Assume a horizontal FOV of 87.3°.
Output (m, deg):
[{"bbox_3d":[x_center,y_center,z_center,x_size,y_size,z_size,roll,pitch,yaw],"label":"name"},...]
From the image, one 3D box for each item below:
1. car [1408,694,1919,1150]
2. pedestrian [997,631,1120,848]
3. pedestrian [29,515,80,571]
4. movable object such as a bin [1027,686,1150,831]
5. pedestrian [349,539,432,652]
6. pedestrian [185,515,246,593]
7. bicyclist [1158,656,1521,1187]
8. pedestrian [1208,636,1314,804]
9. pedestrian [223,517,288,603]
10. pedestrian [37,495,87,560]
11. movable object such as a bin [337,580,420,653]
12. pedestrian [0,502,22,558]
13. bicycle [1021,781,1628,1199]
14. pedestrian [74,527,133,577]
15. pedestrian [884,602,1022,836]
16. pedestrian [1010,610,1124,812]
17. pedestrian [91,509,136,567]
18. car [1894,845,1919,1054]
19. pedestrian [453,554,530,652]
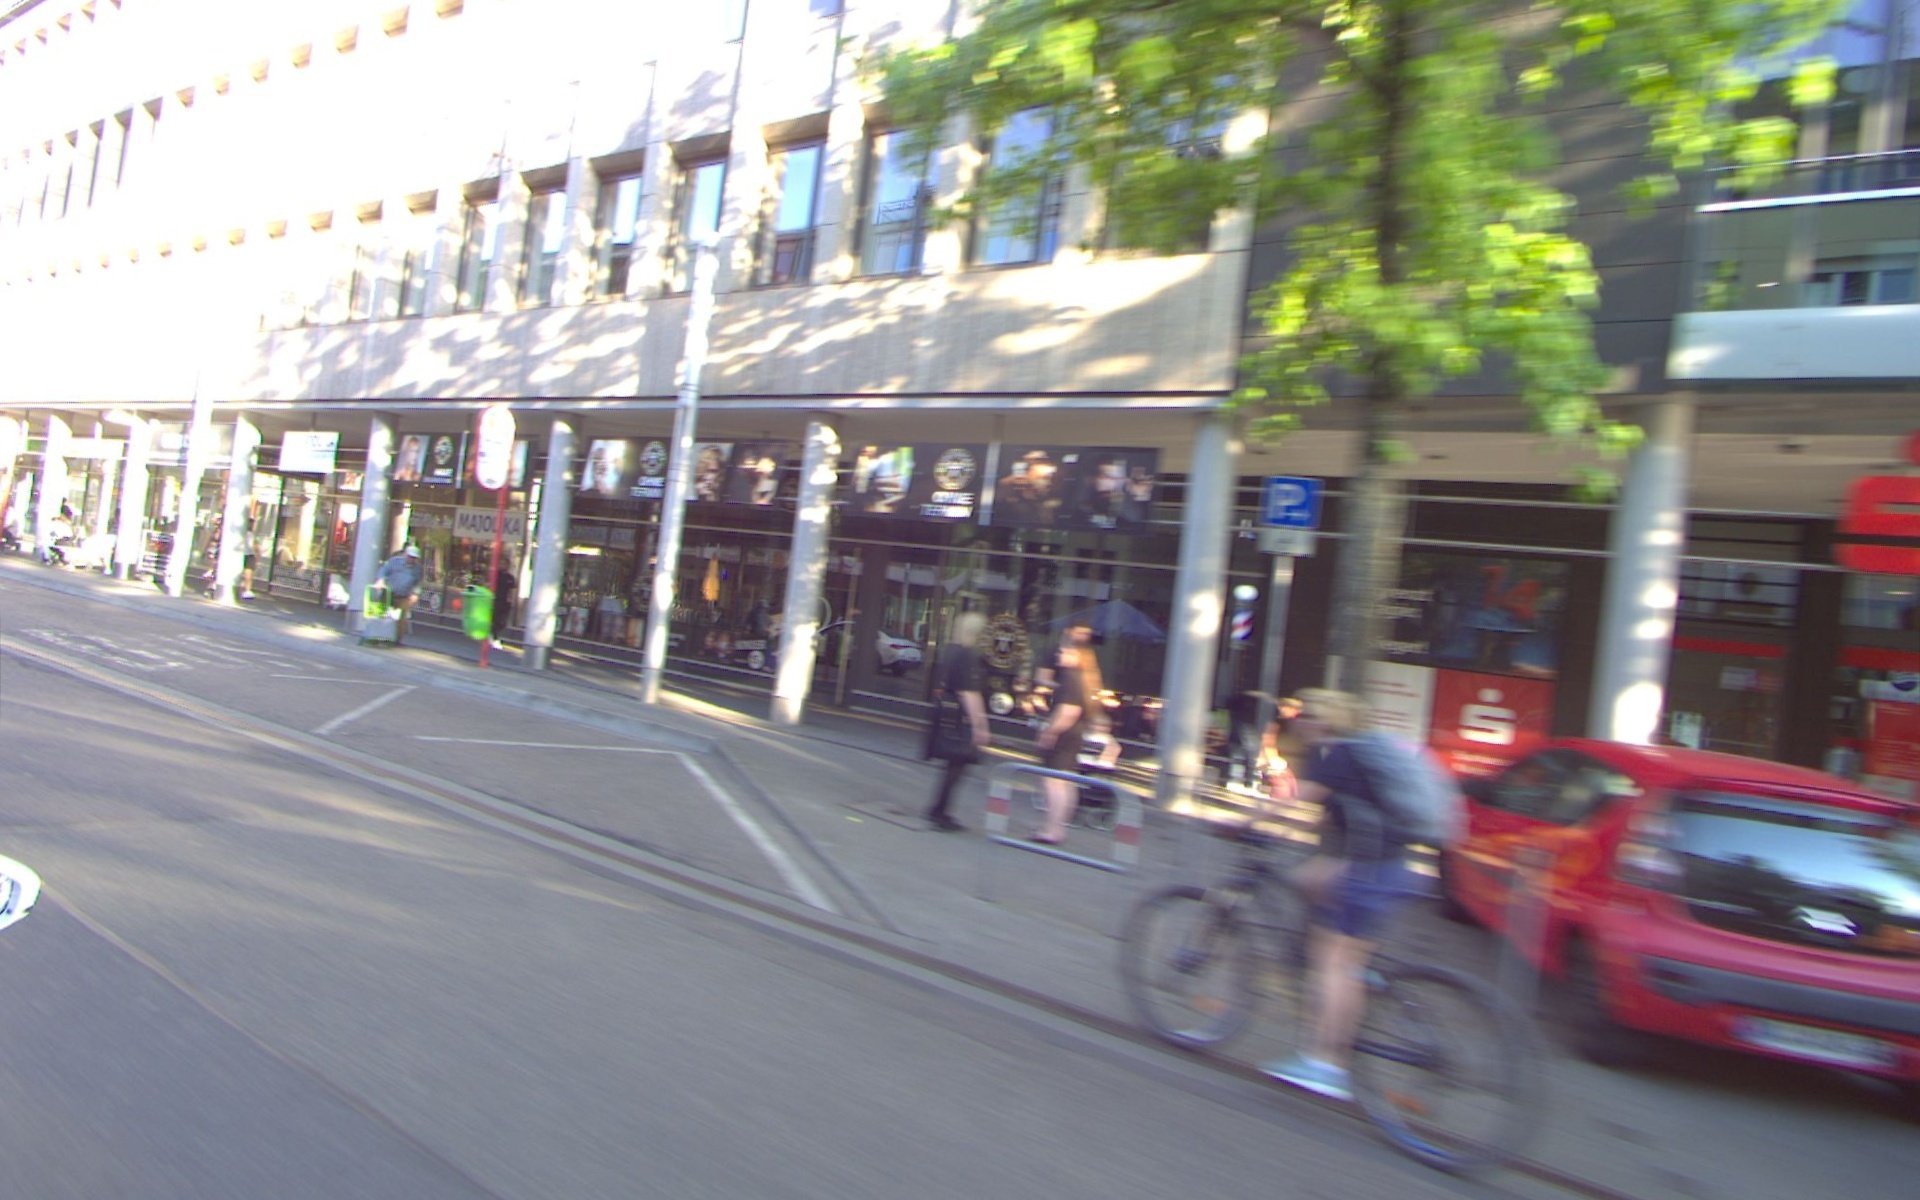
[{"bbox_3d":[3.971,1.516,5.881,1.635,1.499,3.399,7,0,12],"label":"car"},{"bbox_3d":[0.761,1.077,7.945,0.598,1.572,0.687,6,1,-15],"label":"pedestrian"},{"bbox_3d":[-22.072,-1.385,24.519,0.772,1.212,0.667,7,-2,36],"label":"pedestrian"},{"bbox_3d":[1.106,1.369,8.815,0.679,1.077,0.830,6,1,-17],"label":"movable object such as a bin"},{"bbox_3d":[-8.713,-0.059,15.412,0.621,1.590,0.683,7,-3,32],"label":"pedestrian"},{"bbox_3d":[-17.858,-1.101,24.130,0.843,1.720,0.746,7,-1,32],"label":"pedestrian"},{"bbox_3d":[1.462,1.116,3.871,0.900,1.630,0.777,6,-3,43],"label":"bicyclist"},{"bbox_3d":[3.571,1.403,11.910,0.833,1.805,0.781,7,-1,30],"label":"pedestrian"},{"bbox_3d":[-16.041,-0.908,22.912,0.843,1.813,0.746,7,-1,32],"label":"pedestrian"},{"bbox_3d":[-26.377,-2.114,29.538,0.821,1.761,0.717,7,-1,32],"label":"pedestrian"},{"bbox_3d":[-8.560,0.246,14.822,0.706,0.934,0.692,7,-3,32],"label":"movable object such as a bin"},{"bbox_3d":[-25.038,-1.873,25.928,0.763,1.393,0.837,8,-1,9],"label":"pedestrian"},{"bbox_3d":[1.311,1.419,3.962,2.031,1.006,0.718,6,-4,43],"label":"bicycle"},{"bbox_3d":[-20.557,-1.146,24.156,0.685,1.042,0.837,7,-2,36],"label":"pedestrian"},{"bbox_3d":[-0.068,0.913,7.865,0.673,1.707,0.691,6,1,-25],"label":"pedestrian"},{"bbox_3d":[0.983,1.011,9.358,0.679,1.753,0.630,6,1,-17],"label":"pedestrian"},{"bbox_3d":[-24.738,-1.803,29.413,0.783,1.559,0.644,7,-1,32],"label":"pedestrian"},{"bbox_3d":[5.983,1.667,3.278,1.663,1.673,4.355,7,0,0],"label":"car"},{"bbox_3d":[-8.415,0.049,18.080,0.910,1.607,0.697,7,-1,32],"label":"pedestrian"}]
